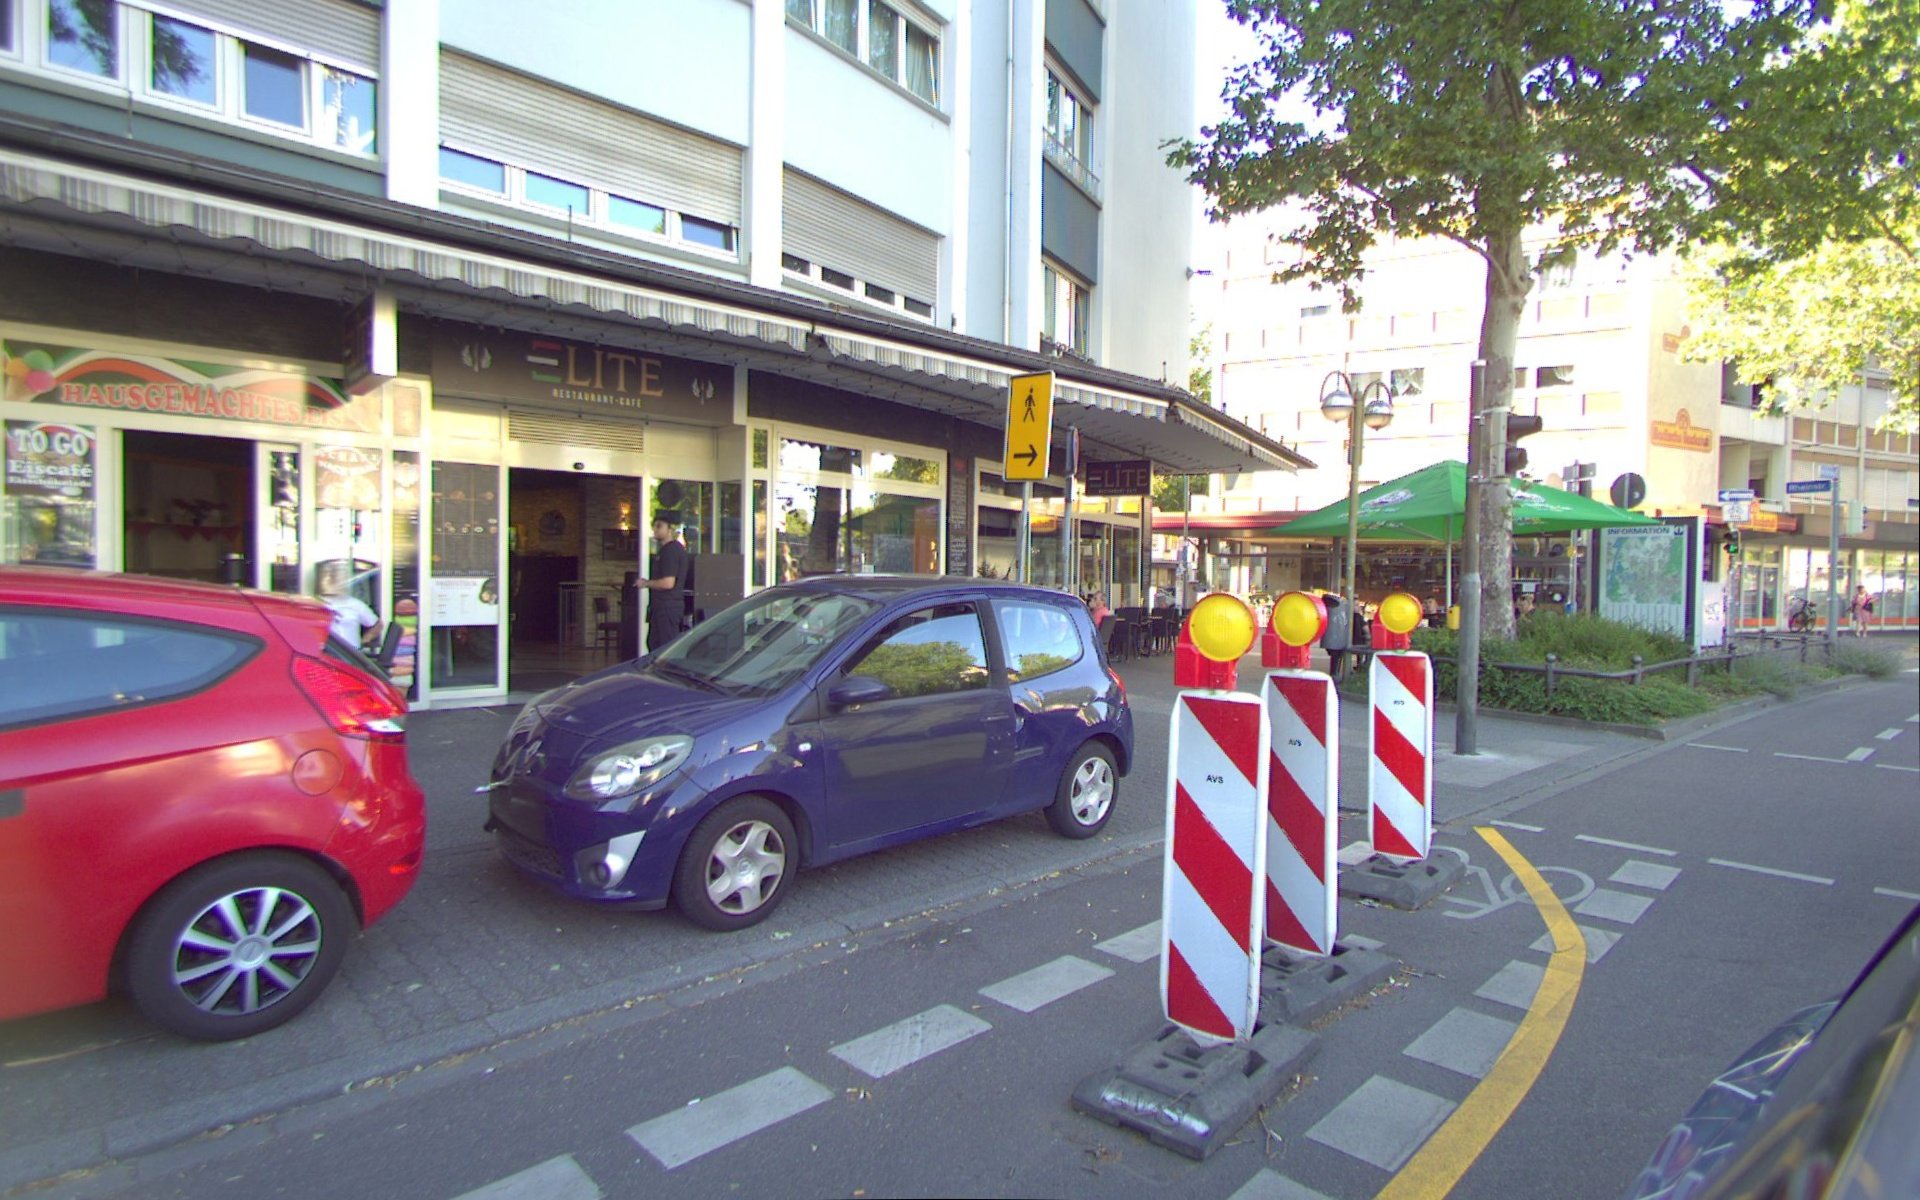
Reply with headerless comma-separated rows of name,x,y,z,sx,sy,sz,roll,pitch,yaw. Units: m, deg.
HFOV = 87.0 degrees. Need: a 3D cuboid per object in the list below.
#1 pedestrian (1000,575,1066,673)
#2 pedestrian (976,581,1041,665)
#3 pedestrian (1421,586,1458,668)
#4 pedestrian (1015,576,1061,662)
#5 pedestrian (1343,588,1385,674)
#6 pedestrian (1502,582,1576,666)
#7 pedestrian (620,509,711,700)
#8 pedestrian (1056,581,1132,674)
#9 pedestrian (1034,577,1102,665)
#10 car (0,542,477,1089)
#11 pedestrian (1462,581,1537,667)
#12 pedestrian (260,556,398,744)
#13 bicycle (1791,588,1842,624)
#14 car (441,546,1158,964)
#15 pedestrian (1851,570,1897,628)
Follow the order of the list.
pedestrian,0.996,0.314,13.744,0.644,1.267,0.711,3,1,25
pedestrian,0.706,0.322,14.648,0.710,1.144,0.645,3,1,25
pedestrian,7.459,0.409,15.762,0.427,1.234,0.465,3,2,20
pedestrian,1.169,0.275,15.269,0.541,1.259,0.521,2,1,-7
pedestrian,5.947,0.444,14.906,0.460,1.235,0.432,0,0,5
pedestrian,9.272,0.369,16.215,0.753,1.301,0.720,0,1,-28
pedestrian,-2.825,0.023,9.706,0.579,1.756,0.596,1,3,-43
pedestrian,1.860,0.366,14.018,0.838,1.213,0.644,3,1,27
pedestrian,1.590,0.297,14.909,0.664,1.233,0.706,3,1,43
car,-3.640,0.561,2.843,1.667,1.446,3.786,5,4,44
pedestrian,8.422,0.360,15.812,0.752,1.301,0.721,0,1,-27
pedestrian,-4.820,0.325,7.703,0.765,1.247,1.207,-1,5,-38
bicycle,28.129,0.186,33.244,1.933,1.157,0.530,0,1,-26
car,-0.655,0.525,5.506,3.545,1.484,1.621,0,4,-44
pedestrian,28.332,-0.042,31.374,0.883,1.779,0.751,0,1,-24
